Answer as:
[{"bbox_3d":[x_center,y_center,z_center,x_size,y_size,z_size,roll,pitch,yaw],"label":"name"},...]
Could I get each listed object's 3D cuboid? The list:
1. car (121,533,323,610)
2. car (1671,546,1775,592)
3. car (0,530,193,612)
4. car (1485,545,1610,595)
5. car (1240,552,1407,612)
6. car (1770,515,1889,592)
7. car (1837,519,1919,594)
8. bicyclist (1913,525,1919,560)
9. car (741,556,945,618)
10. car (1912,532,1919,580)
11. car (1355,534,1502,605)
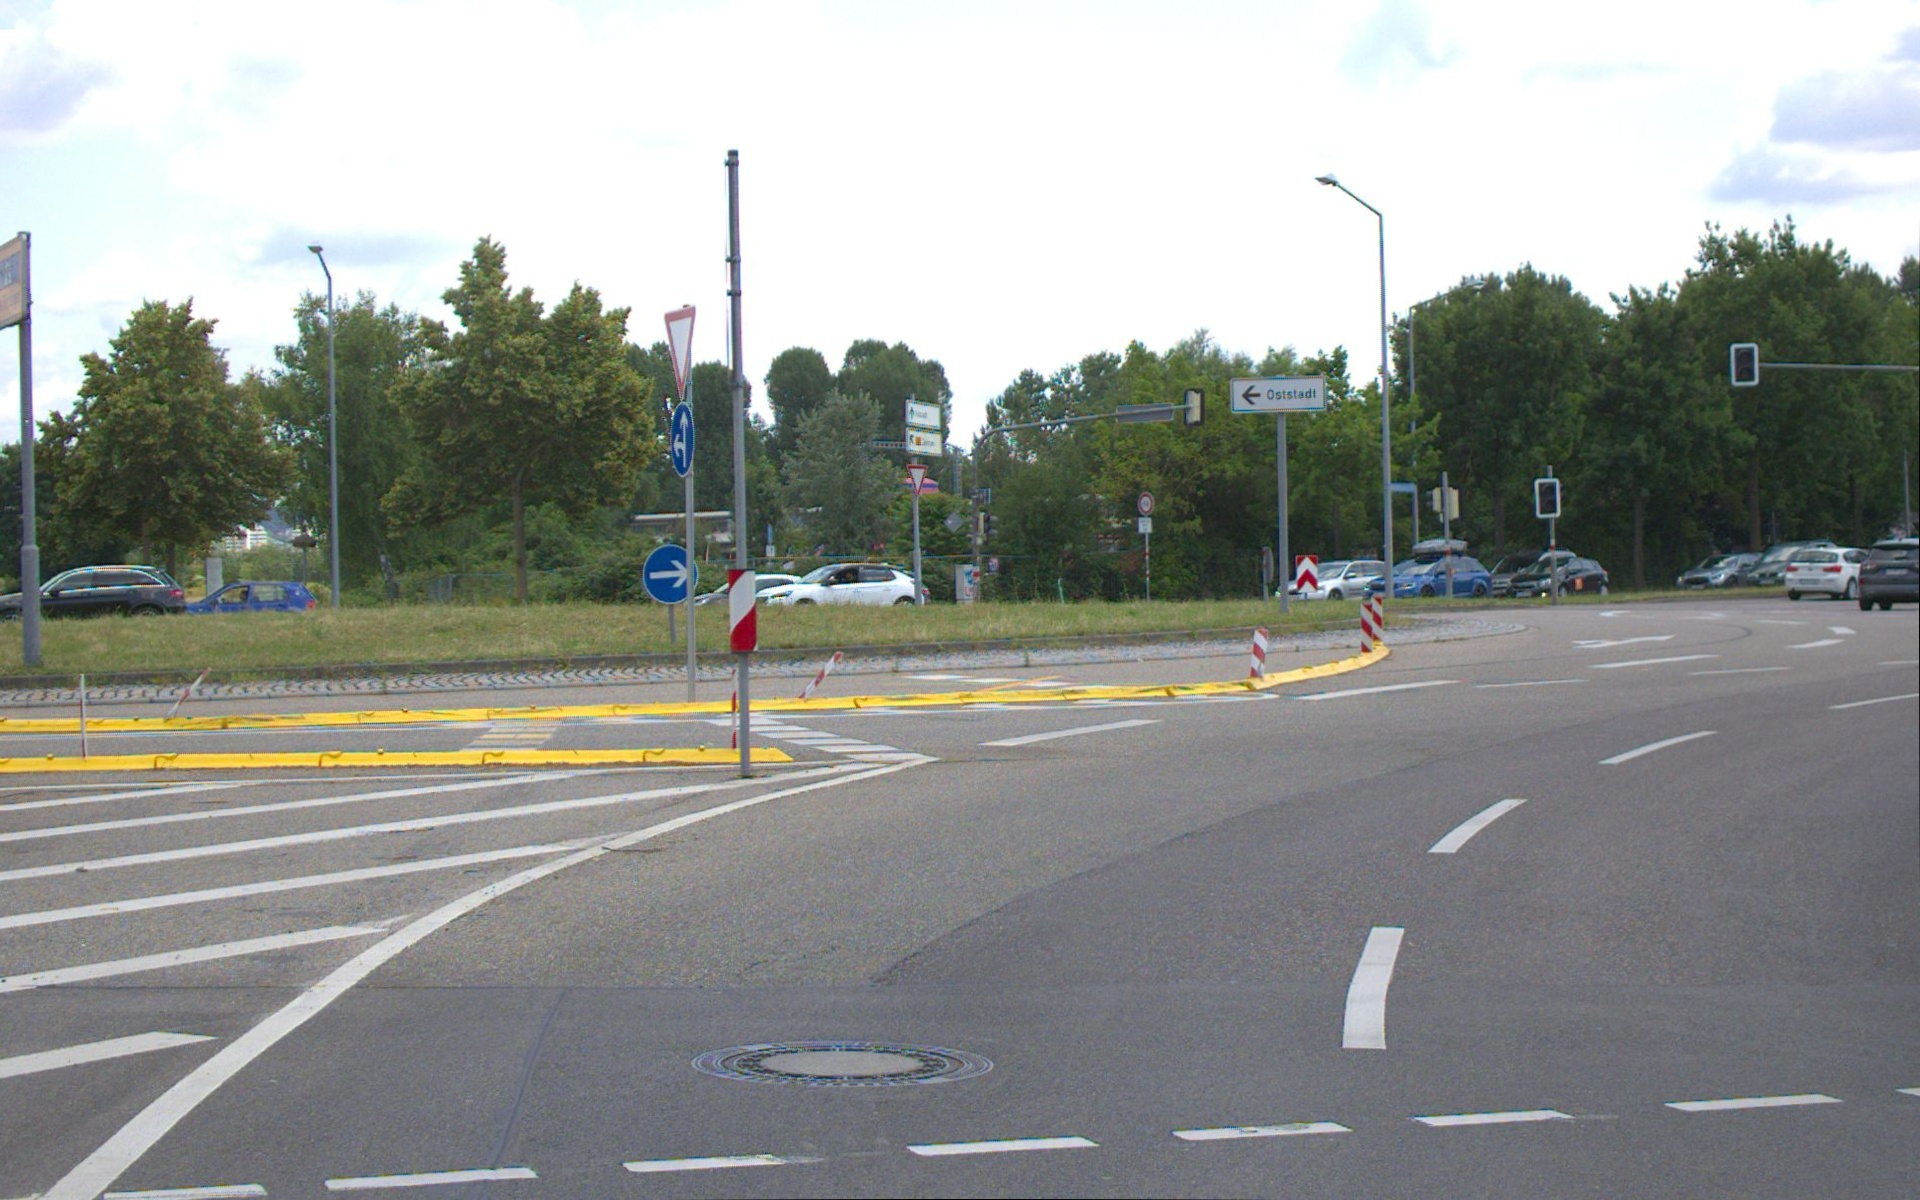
[{"bbox_3d":[-18.186,-0.715,84.682,4.709,1.785,1.849,-1,1,-17],"label":"car"},{"bbox_3d":[25.166,-1.037,113.353,1.909,1.418,4.183,-1,1,34],"label":"car"},{"bbox_3d":[-19.366,-0.631,74.394,5.053,1.669,2.000,-2,1,-26],"label":"car"},{"bbox_3d":[17.850,-0.910,104.342,1.801,1.336,3.969,-3,0,44],"label":"car"},{"bbox_3d":[10.041,-0.511,94.835,4.495,1.516,2.123,-2,2,-43],"label":"car"},{"bbox_3d":[23.619,-1.276,93.330,1.997,2.007,3.993,-1,1,32],"label":"car"},{"bbox_3d":[21.353,-1.014,78.834,1.995,1.620,4.305,-2,0,19],"label":"car"},{"bbox_3d":[42.861,-2.557,152.512,0.832,1.559,0.882,2,2,38],"label":"bicyclist"},{"bbox_3d":[-2.722,-0.313,80.021,4.297,1.325,2.000,-2,1,-29],"label":"car"},{"bbox_3d":[37.789,-1.718,129.593,1.842,1.793,4.777,-3,-1,39],"label":"car"},{"bbox_3d":[12.543,-0.819,91.917,1.754,1.792,4.398,0,2,41],"label":"car"}]
